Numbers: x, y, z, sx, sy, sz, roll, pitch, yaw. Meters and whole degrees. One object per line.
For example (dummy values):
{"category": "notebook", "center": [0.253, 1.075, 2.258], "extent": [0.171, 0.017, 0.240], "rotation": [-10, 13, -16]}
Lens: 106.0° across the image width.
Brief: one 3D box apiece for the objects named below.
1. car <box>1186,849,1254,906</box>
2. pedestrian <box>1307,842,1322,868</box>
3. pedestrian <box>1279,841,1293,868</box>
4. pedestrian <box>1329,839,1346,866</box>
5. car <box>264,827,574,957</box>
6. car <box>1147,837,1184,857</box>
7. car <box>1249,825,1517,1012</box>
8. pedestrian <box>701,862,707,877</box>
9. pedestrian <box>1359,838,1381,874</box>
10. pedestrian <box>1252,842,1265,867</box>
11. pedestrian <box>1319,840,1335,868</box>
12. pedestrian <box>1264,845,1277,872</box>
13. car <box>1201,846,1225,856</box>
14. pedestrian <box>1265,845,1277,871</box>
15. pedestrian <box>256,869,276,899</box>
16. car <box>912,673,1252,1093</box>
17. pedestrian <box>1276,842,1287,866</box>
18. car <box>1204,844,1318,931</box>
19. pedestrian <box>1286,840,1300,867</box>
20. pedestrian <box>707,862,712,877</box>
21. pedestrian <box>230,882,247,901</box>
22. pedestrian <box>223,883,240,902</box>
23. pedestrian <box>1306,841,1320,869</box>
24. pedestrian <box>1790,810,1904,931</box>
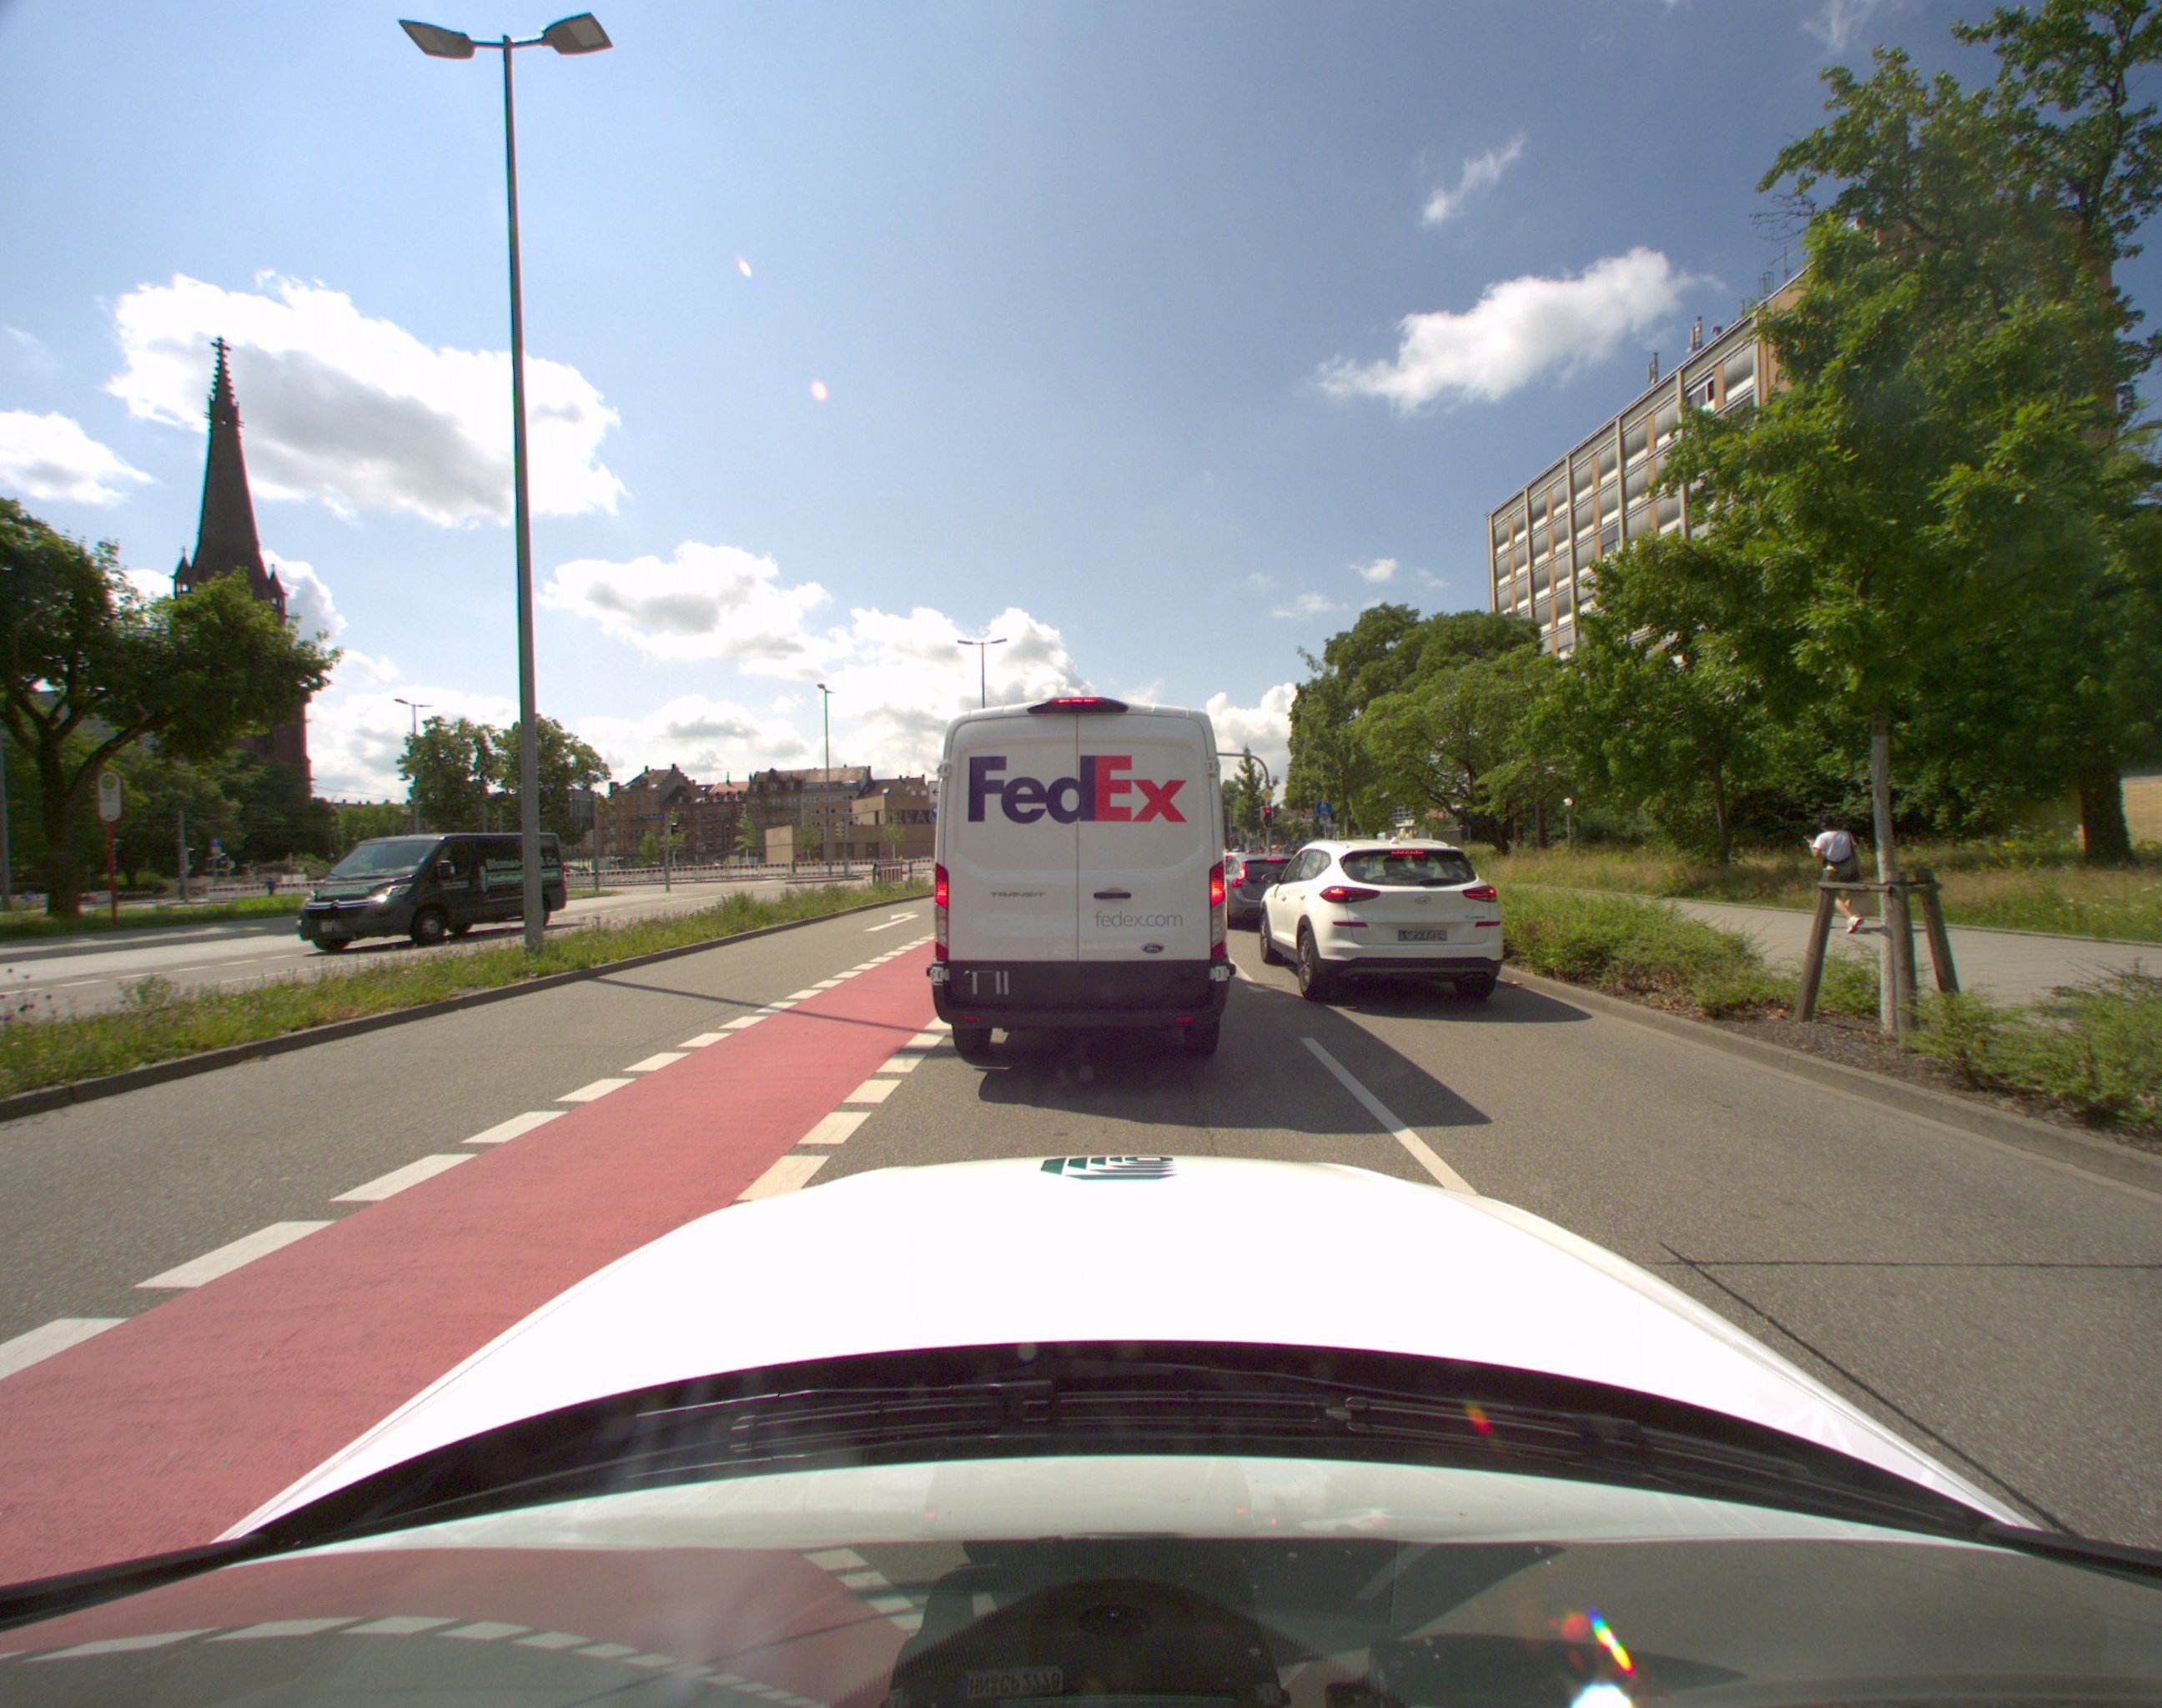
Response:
{"category": "car", "center": [3.909, 0.601, 23.331], "extent": [1.493, 1.464, 3.477], "rotation": [-2, 0, 3]}
{"category": "pedestrian", "center": [16.730, 0.066, 58.427], "extent": [0.757, 1.849, 0.815], "rotation": [-2, 0, -3]}
{"category": "pedestrian", "center": [14.147, 0.030, 56.121], "extent": [0.755, 1.849, 0.817], "rotation": [-2, 0, 3]}
{"category": "pedestrian", "center": [17.669, -0.087, 56.107], "extent": [0.758, 1.849, 0.814], "rotation": [-2, 0, -6]}
{"category": "car", "center": [-13.358, 0.654, 17.018], "extent": [2.140, 2.175, 5.021], "rotation": [-4, 0, 2]}
{"category": "car", "center": [11.886, -0.981, 114.160], "extent": [2.464, 2.717, 7.128], "rotation": [-1, -1, 30]}
{"category": "car", "center": [3.188, 0.583, 9.487], "extent": [1.807, 1.678, 3.978], "rotation": [-2, 0, 3]}
{"category": "pedestrian", "center": [-42.103, 1.763, 90.957], "extent": [0.420, 1.652, 0.420], "rotation": [-1, -1, 36]}
{"category": "pedestrian", "center": [13.664, 0.080, 38.466], "extent": [0.755, 1.655, 0.817], "rotation": [-2, 0, 5]}
{"category": "pedestrian", "center": [13.025, 0.026, 59.761], "extent": [0.810, 1.849, 0.762], "rotation": [-2, 0, 5]}
{"category": "pedestrian", "center": [16.838, -0.015, 55.788], "extent": [0.758, 1.849, 0.814], "rotation": [-2, 0, -8]}
{"category": "pedestrian", "center": [13.165, 0.293, 56.546], "extent": [0.752, 1.849, 0.820], "rotation": [-2, 0, 20]}
{"category": "car", "center": [24.757, -0.500, 152.396], "extent": [4.316, 1.872, 1.929], "rotation": [0, -1, 6]}
{"category": "pedestrian", "center": [13.722, 0.318, 58.890], "extent": [0.753, 1.849, 0.820], "rotation": [-2, 0, 16]}
{"category": "pedestrian", "center": [-56.762, 2.093, 56.725], "extent": [0.644, 2.013, 0.632], "rotation": [-2, 0, -1]}
{"category": "car", "center": [0.130, 0.176, 7.330], "extent": [2.064, 2.581, 4.432], "rotation": [-2, 0, 3]}
{"category": "pedestrian", "center": [15.839, 0.006, 64.314], "extent": [0.754, 1.849, 0.818], "rotation": [-2, 0, 8]}
{"category": "car", "center": [3.582, 0.598, 16.801], "extent": [1.684, 1.549, 3.724], "rotation": [-2, 0, 3]}
{"category": "pedestrian", "center": [14.853, -0.047, 57.044], "extent": [0.755, 1.849, 0.817], "rotation": [-2, 0, 5]}
{"category": "pedestrian", "center": [-41.185, 1.751, 90.254], "extent": [0.420, 1.652, 0.420], "rotation": [-1, -1, 36]}
{"category": "pedestrian", "center": [-77.770, 3.486, 75.138], "extent": [0.860, 1.663, 0.745], "rotation": [-2, 0, -29]}
{"category": "pedestrian", "center": [-77.262, 3.487, 74.097], "extent": [0.860, 1.663, 0.745], "rotation": [-2, 0, -29]}
{"category": "pedestrian", "center": [15.022, 0.057, 52.671], "extent": [0.754, 1.789, 0.818], "rotation": [-2, 0, 10]}
{"category": "pedestrian", "center": [10.406, 0.215, 11.096], "extent": [0.756, 1.557, 0.816], "rotation": [-2, 0, 1]}
